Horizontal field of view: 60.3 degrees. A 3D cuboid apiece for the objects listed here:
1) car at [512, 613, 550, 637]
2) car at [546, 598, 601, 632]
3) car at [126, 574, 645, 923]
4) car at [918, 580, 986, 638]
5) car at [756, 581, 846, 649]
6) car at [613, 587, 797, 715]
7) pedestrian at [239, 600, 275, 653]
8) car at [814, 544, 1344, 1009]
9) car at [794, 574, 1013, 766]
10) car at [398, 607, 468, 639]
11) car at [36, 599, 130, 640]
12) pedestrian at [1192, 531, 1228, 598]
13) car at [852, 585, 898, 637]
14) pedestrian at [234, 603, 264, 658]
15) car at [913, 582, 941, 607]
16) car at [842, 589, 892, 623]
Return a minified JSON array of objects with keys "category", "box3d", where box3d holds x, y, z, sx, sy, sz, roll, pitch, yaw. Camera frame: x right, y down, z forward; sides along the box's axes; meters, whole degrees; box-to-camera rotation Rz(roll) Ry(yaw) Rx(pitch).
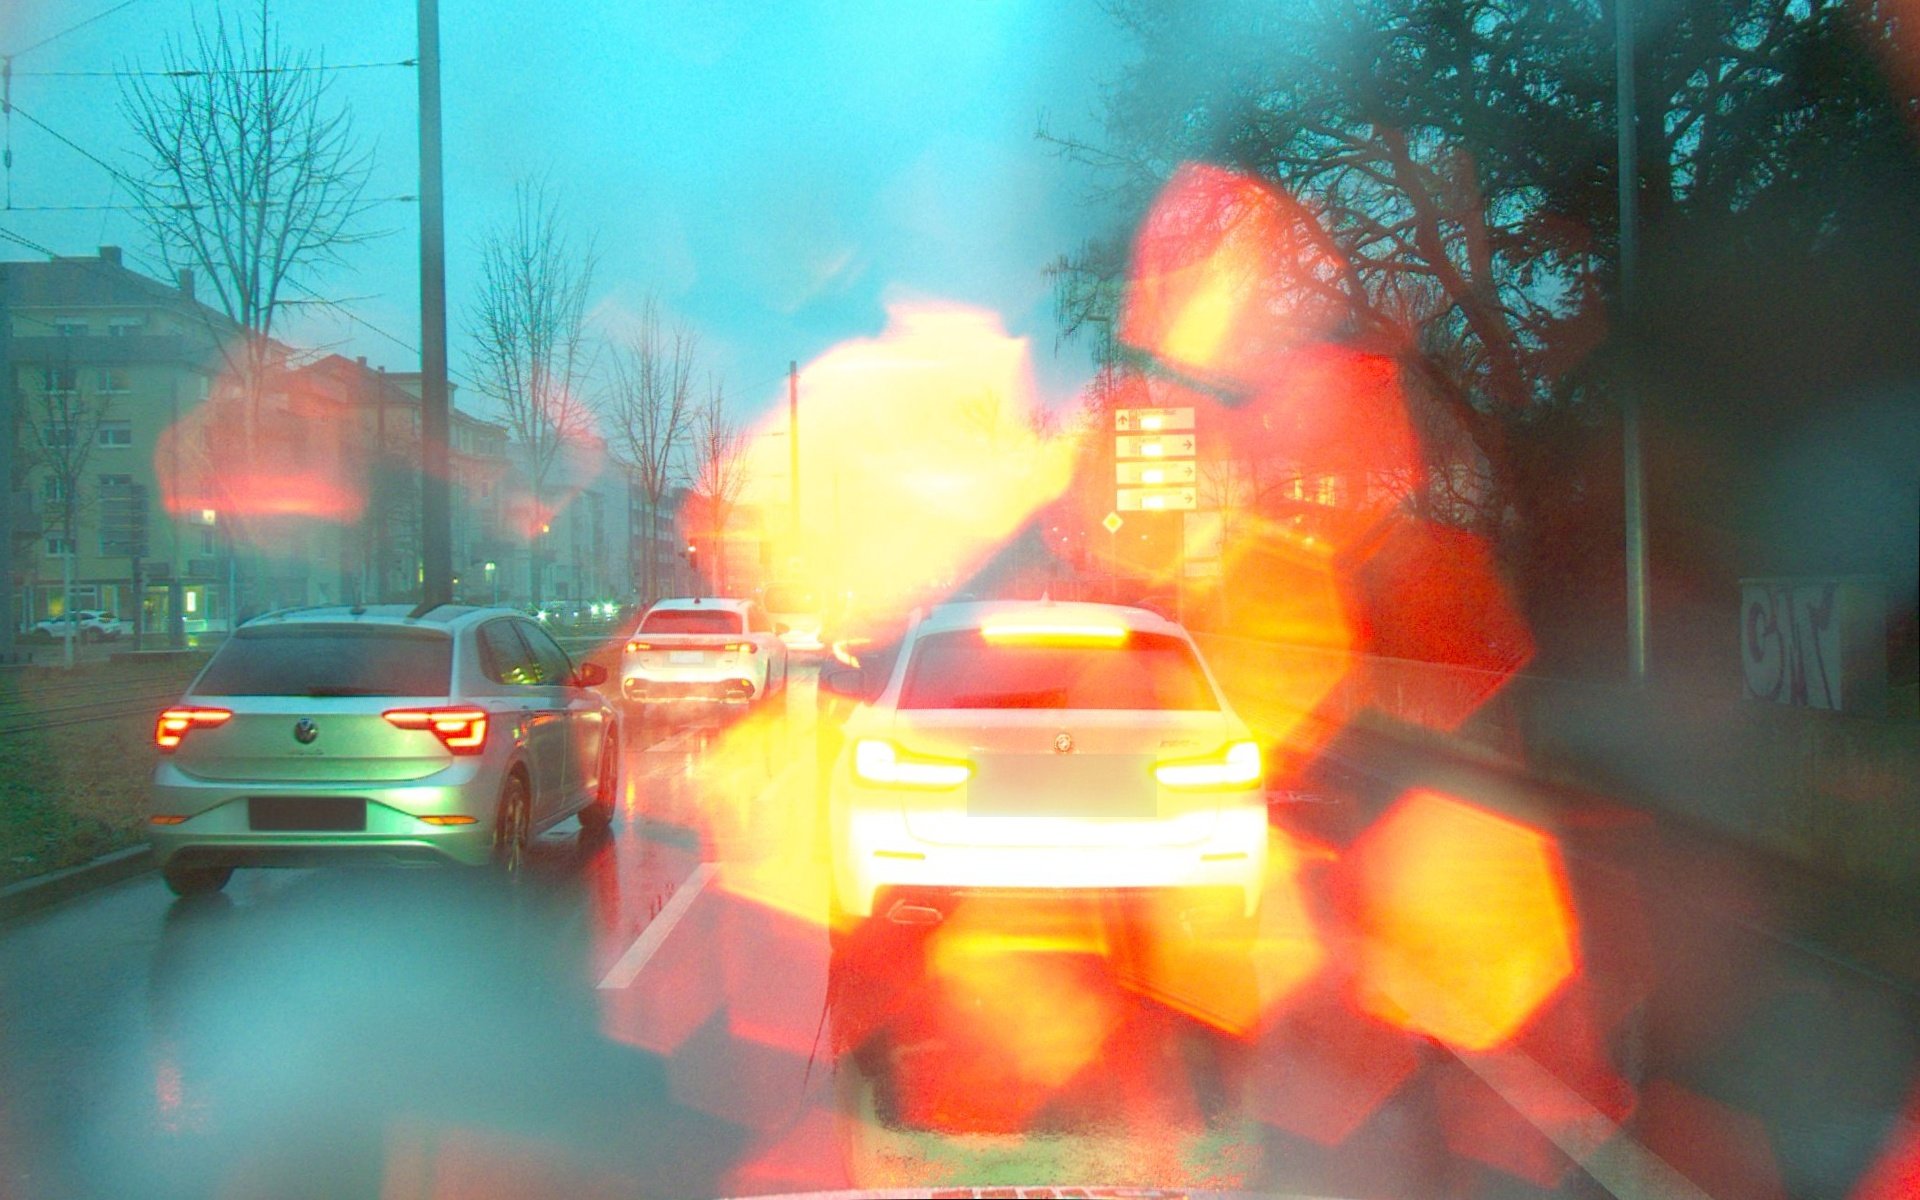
[{"category":"car","box3d":[-25.554,1.475,98.580,1.659,1.300,4.142,-1,0,-7]},{"category":"car","box3d":[-19.640,0.757,84.248,1.953,1.630,3.998,1,0,-2]},{"category":"car","box3d":[-2.951,0.657,9.419,1.659,1.560,3.999,0,0,-2]},{"category":"car","box3d":[-0.238,0.224,44.158,1.702,1.444,3.702,-1,0,-1]},{"category":"car","box3d":[-3.650,0.316,38.551,1.702,1.444,4.393,-1,0,-1]},{"category":"car","box3d":[-3.255,0.595,21.959,1.762,1.492,4.585,-1,0,-1]},{"category":"pedestrian","box3d":[-27.687,1.025,65.157,1.253,2.049,1.000,-1,0,-25]},{"category":"car","box3d":[0.384,0.600,8.247,1.825,1.583,4.937,-1,0,-1]},{"category":"car","box3d":[-0.486,0.573,15.450,1.763,1.537,3.894,-1,0,-1]},{"category":"car","box3d":[-23.569,1.029,74.105,1.821,1.355,4.314,1,0,-1]},{"category":"car","box3d":[-43.740,0.971,82.543,3.679,1.976,1.838,1,0,-9]},{"category":"pedestrian","box3d":[7.791,-1.107,51.598,0.939,2.049,1.008,-1,0,1]},{"category":"car","box3d":[-2.880,0.370,55.808,1.476,1.681,2.842,1,0,-4]},{"category":"pedestrian","box3d":[-26.829,1.138,62.413,0.945,2.049,1.002,-1,0,-20]},{"category":"car","box3d":[-2.024,-0.357,102.009,1.702,1.444,4.145,-1,0,-1]},{"category":"car","box3d":[-3.803,0.241,68.395,1.891,1.311,3.999,1,0,-1]}]
